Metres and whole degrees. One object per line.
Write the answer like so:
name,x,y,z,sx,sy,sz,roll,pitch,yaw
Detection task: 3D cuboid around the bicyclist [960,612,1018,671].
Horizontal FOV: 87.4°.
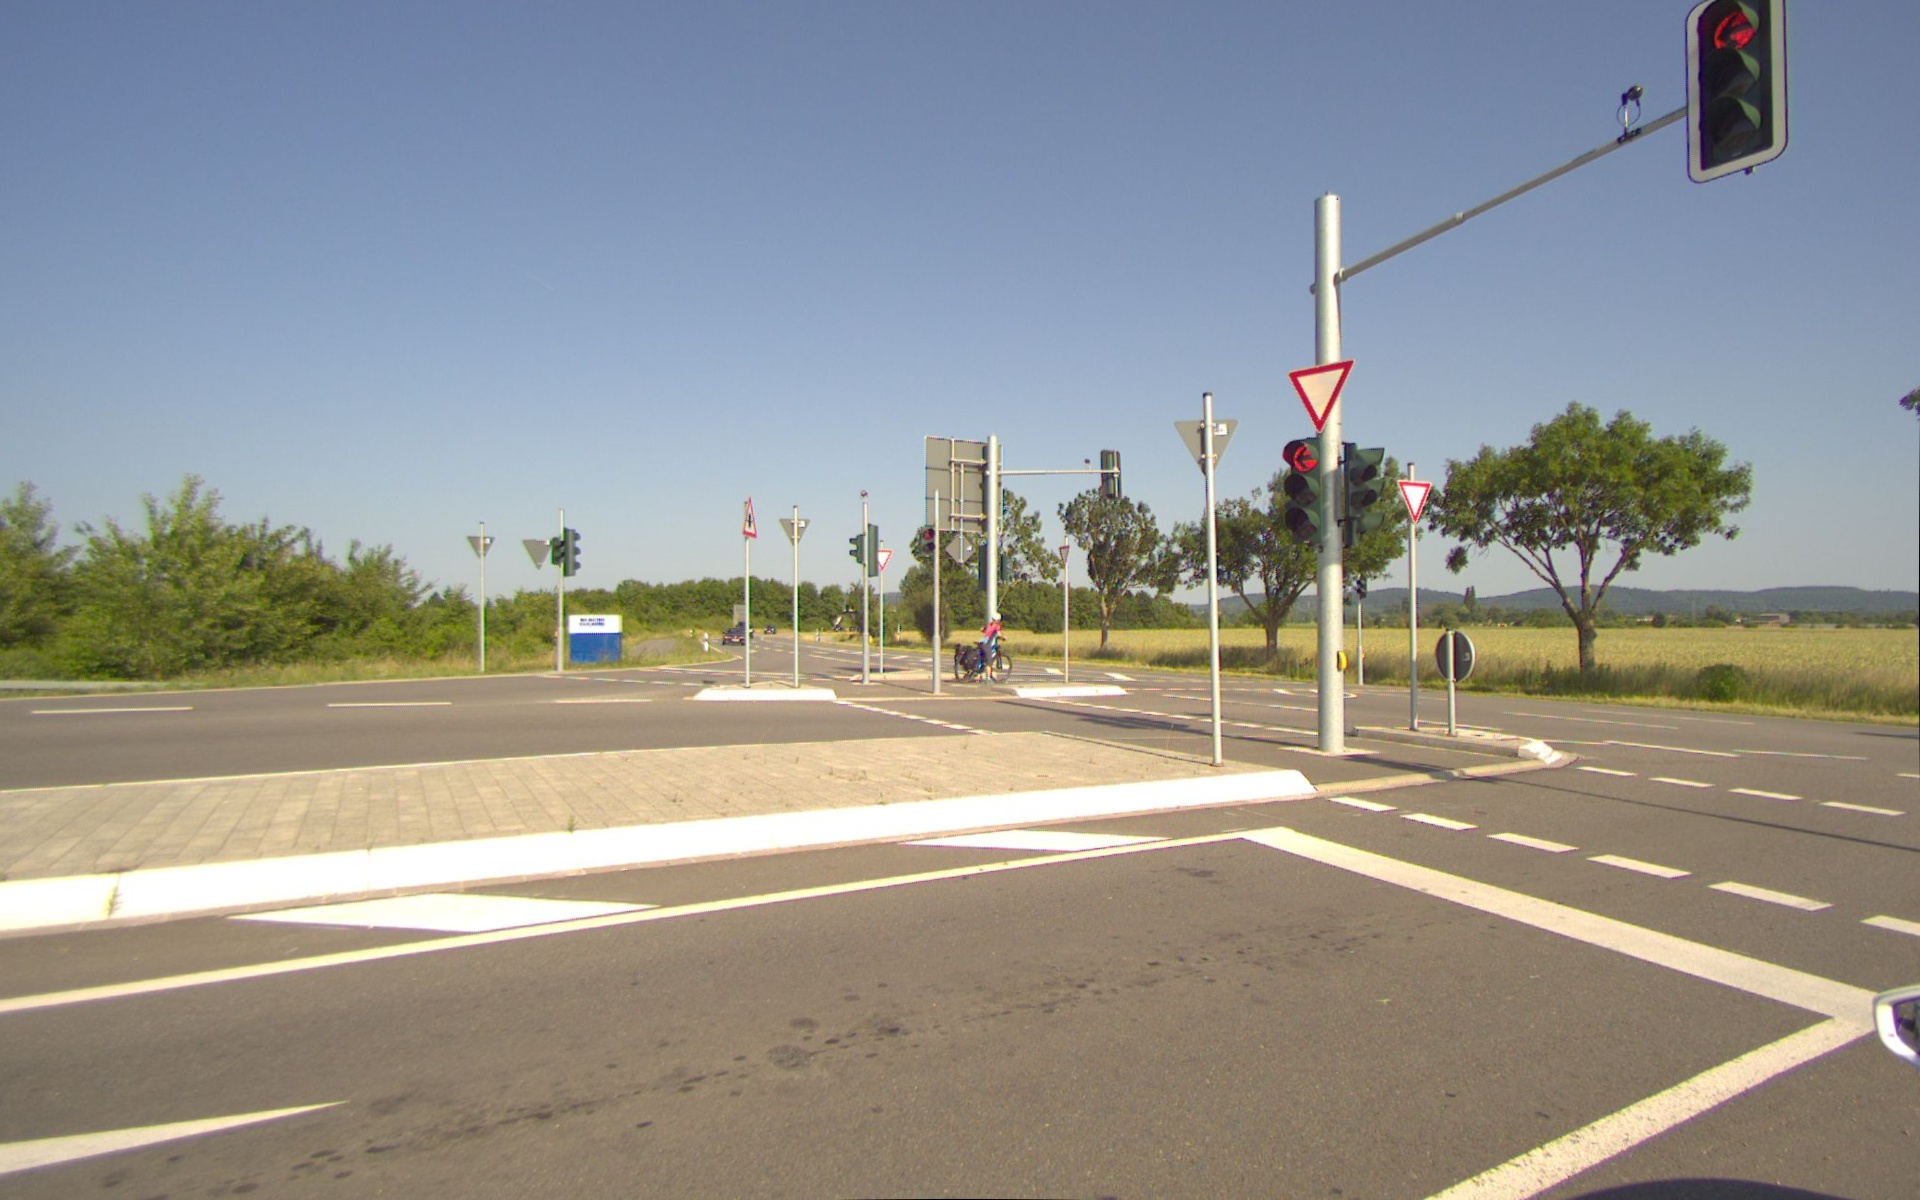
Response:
bicyclist,0.699,0.993,24.260,1.062,1.369,0.851,2,-1,-31

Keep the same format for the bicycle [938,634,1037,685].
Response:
bicycle,0.672,1.432,24.215,2.126,1.164,1.065,3,-1,-31

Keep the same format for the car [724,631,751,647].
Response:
car,-16.810,2.961,75.814,1.712,1.127,3.988,2,-2,-16

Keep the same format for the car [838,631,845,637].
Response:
car,-30.095,8.599,255.140,1.696,1.544,3.468,2,-1,-2

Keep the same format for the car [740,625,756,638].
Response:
car,-25.291,3.728,119.919,1.830,1.562,3.992,1,-2,-12
